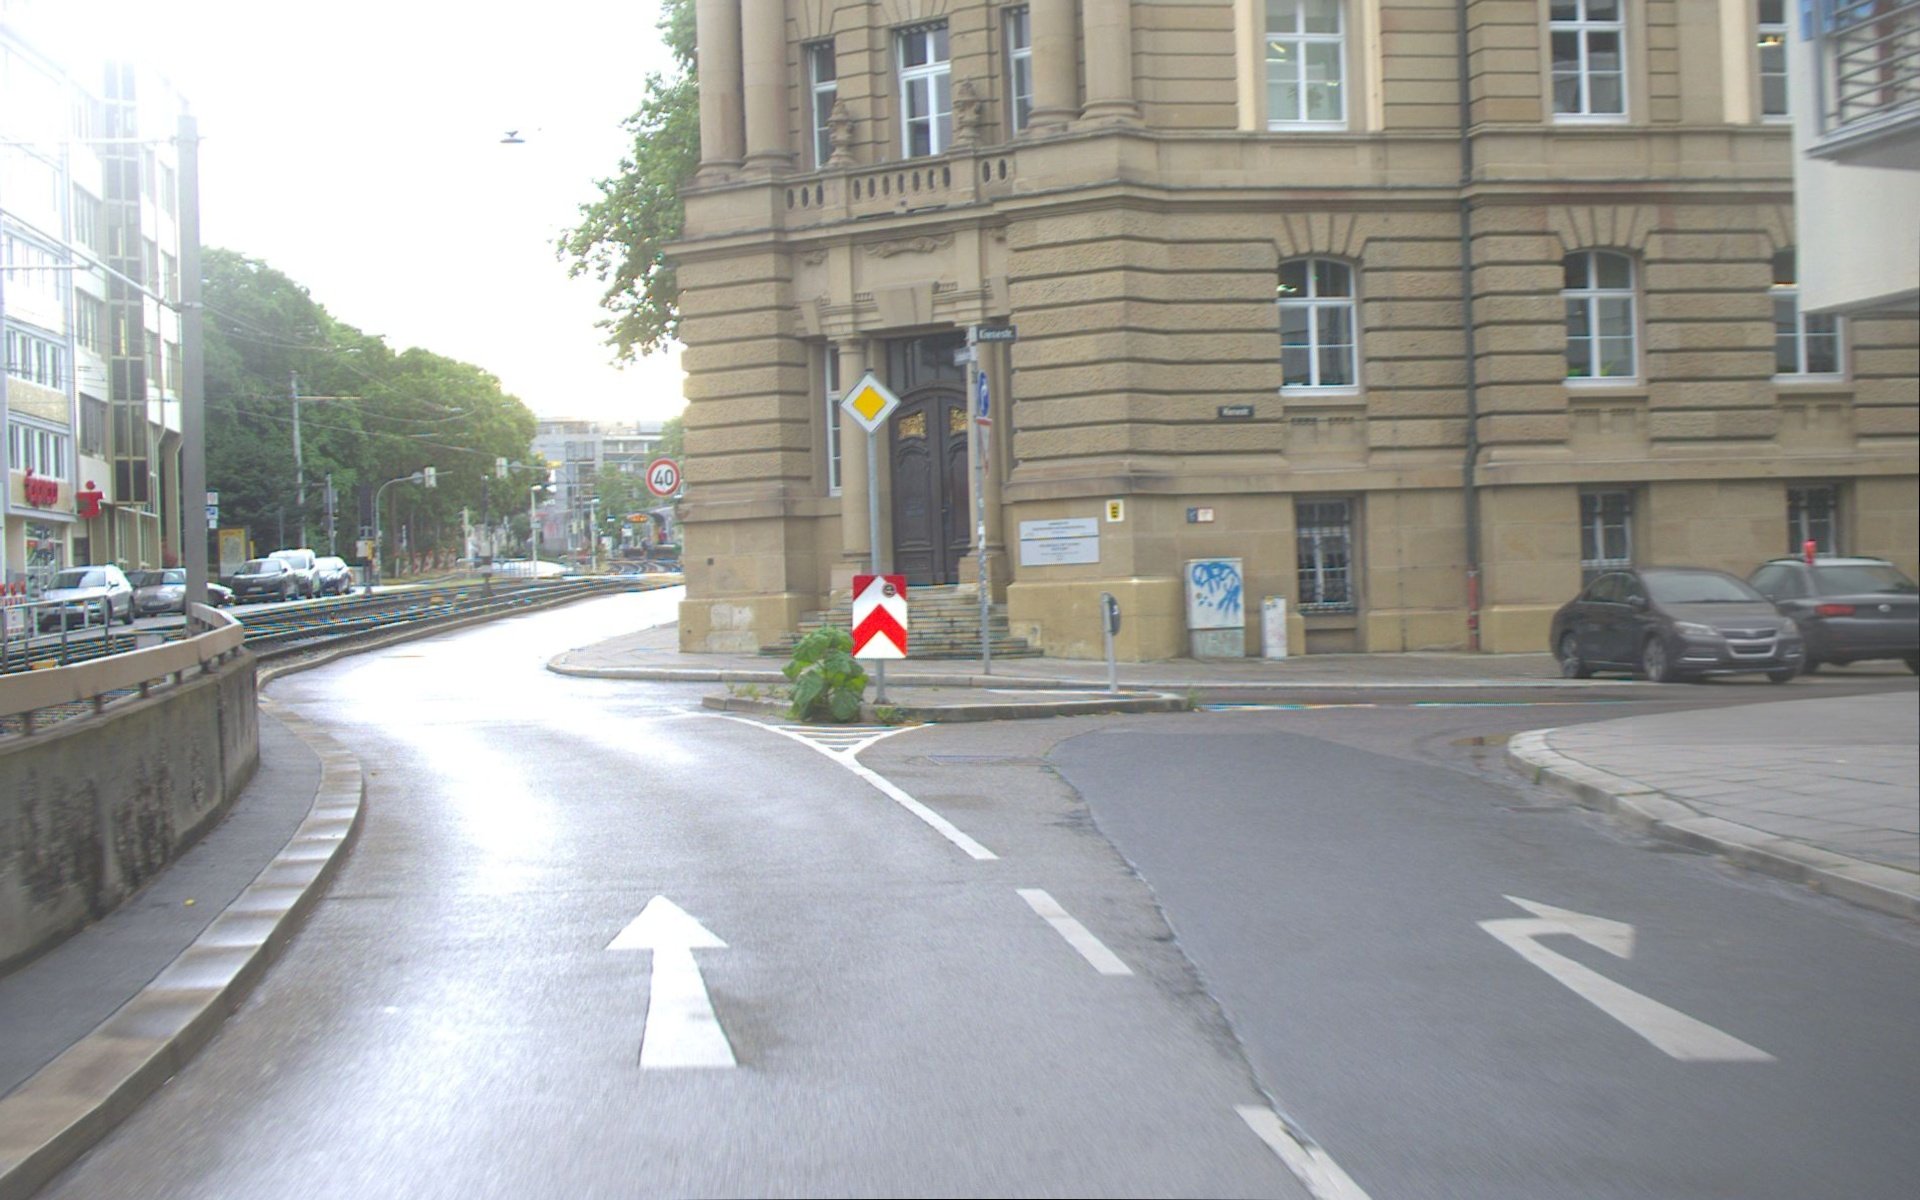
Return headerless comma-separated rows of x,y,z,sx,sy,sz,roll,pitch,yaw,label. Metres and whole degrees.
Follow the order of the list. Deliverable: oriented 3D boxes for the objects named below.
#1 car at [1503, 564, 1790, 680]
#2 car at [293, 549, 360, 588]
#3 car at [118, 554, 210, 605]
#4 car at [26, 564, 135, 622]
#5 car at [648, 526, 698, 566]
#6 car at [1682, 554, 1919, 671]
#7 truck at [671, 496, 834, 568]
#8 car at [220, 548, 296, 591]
8.621,0.239,43.662,1.734,1.363,5.004,-1,1,-12,car
-24.271,-1.200,131.762,1.993,1.451,4.312,-1,1,-3,car
-23.806,-0.632,102.958,1.993,1.451,4.312,-1,1,-3,car
-23.161,-0.205,90.626,1.993,1.451,4.312,-1,1,-3,car
-12.271,-2.296,147.170,1.993,1.656,4.001,-1,1,-3,car
11.120,0.130,45.651,1.734,1.450,4.331,-1,1,-6,car
-10.037,-3.289,165.856,7.915,3.375,1.997,1,1,29,truck
-24.437,-1.066,119.738,1.993,1.451,4.312,-1,1,-3,car
